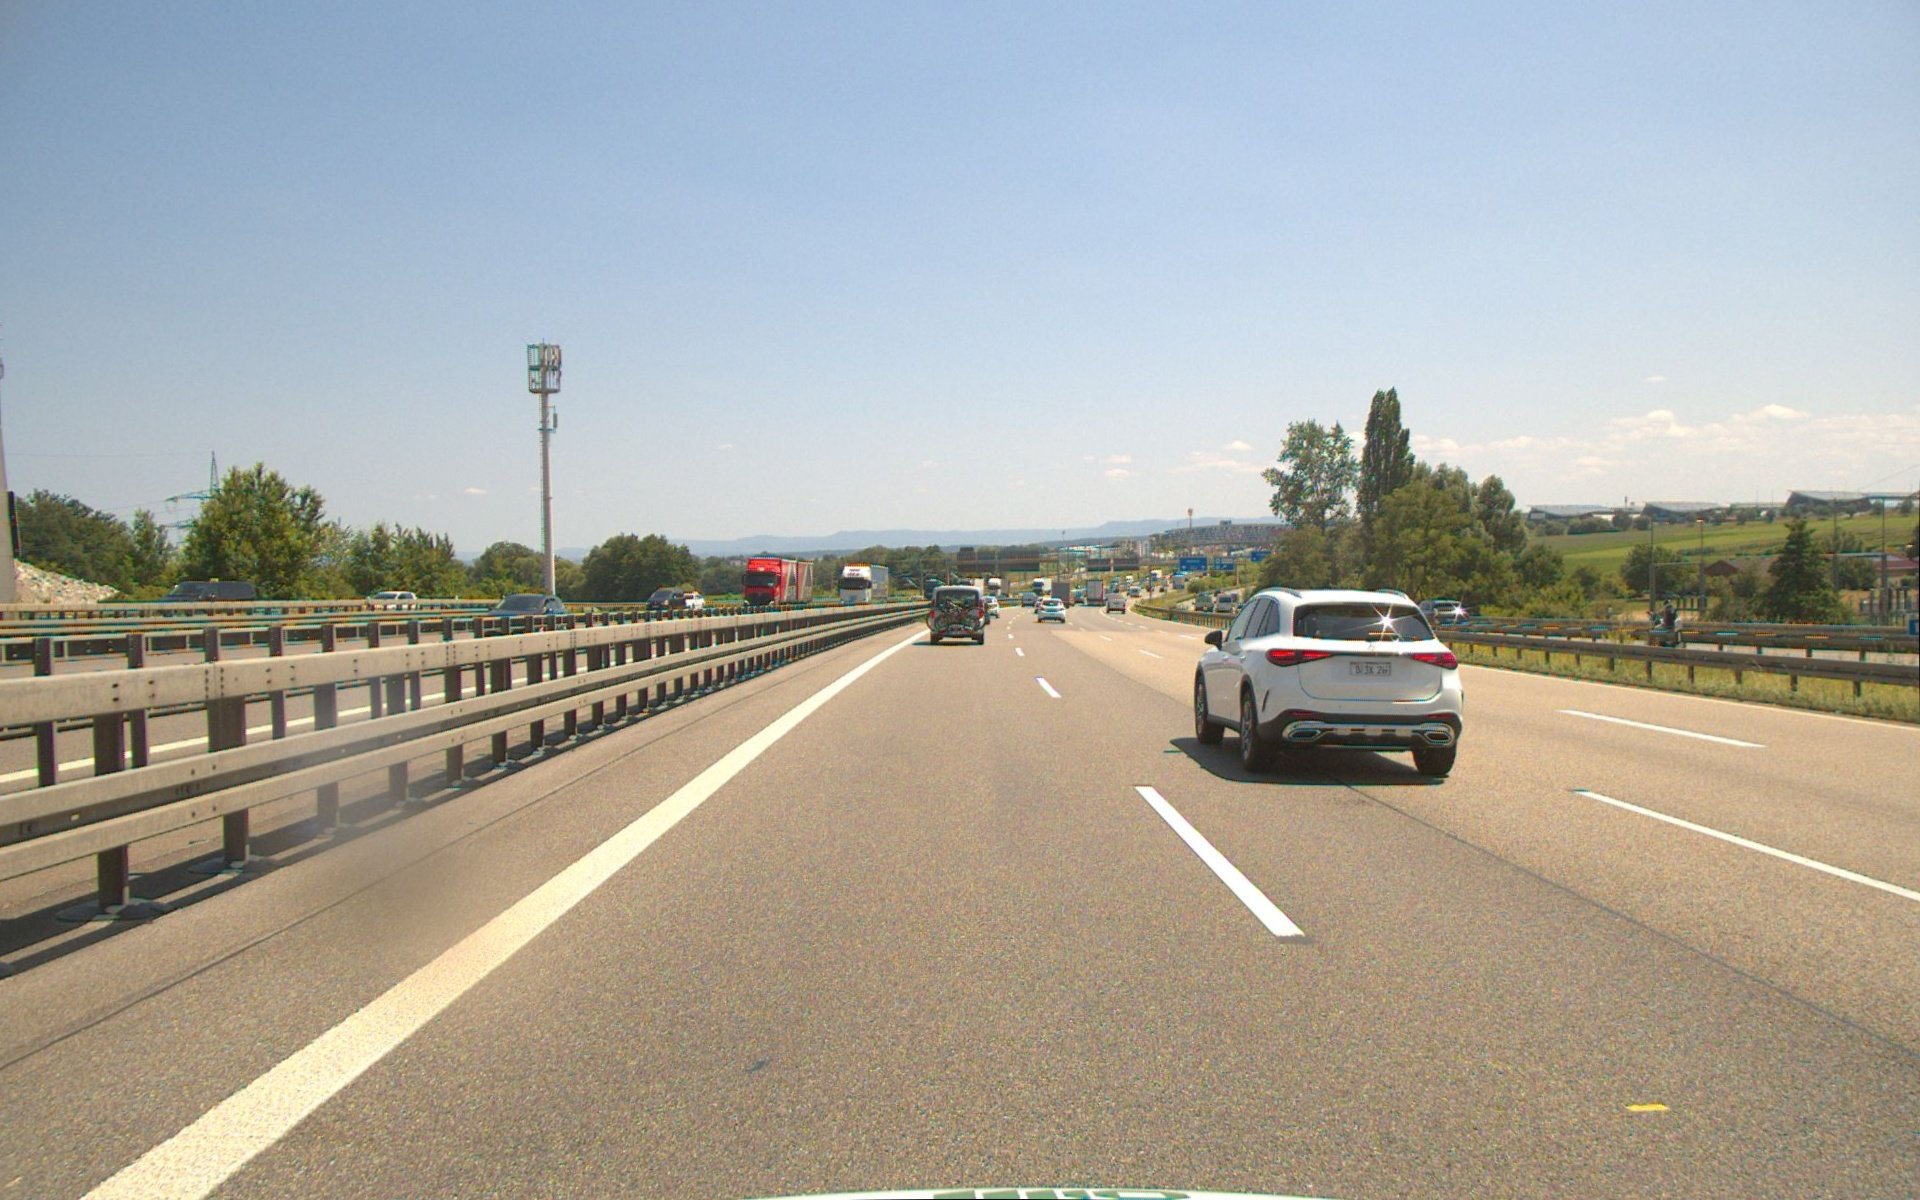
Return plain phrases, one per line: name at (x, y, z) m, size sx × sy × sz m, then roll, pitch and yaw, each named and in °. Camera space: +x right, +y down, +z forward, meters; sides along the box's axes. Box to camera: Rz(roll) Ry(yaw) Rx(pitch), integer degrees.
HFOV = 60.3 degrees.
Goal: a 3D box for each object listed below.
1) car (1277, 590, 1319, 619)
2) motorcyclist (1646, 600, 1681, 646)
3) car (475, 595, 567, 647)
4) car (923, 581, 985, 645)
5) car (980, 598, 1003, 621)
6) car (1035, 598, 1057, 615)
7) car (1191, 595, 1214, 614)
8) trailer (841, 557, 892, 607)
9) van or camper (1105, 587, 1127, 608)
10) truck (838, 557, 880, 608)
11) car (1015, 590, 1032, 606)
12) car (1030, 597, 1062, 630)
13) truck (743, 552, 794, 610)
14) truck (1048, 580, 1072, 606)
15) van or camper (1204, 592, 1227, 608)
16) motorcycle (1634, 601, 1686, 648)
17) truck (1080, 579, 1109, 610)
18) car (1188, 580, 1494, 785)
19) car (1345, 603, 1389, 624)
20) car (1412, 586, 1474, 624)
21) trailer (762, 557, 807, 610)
car at (23.547, 0.334, 115.301) m, size 1.900 × 1.957 × 4.177 m, roll 1°, pitch 0°, yaw -3°
motorcyclist at (21.349, 0.688, 50.183) m, size 0.655 × 1.390 × 0.878 m, roll 1°, pitch 0°, yaw -2°
car at (-13.606, 0.630, 51.489) m, size 1.624 × 1.489 × 4.444 m, roll 1°, pitch 0°, yaw 0°
car at (-0.179, 0.404, 53.293) m, size 1.887 × 1.952 × 4.948 m, roll 1°, pitch 0°, yaw 0°
car at (2.257, 0.697, 118.821) m, size 1.543 × 1.579 × 3.965 m, roll 1°, pitch 0°, yaw 3°
car at (8.037, 0.602, 154.032) m, size 1.940 × 1.499 × 4.002 m, roll 0°, pitch 0°, yaw 4°
car at (27.141, 0.528, 185.322) m, size 1.953 × 2.049 × 4.000 m, roll 1°, pitch 0°, yaw 0°
trailer at (-8.630, -1.554, 154.693) m, size 2.884 × 4.418 × 14.627 m, roll 1°, pitch 0°, yaw 4°
van or camper at (15.834, -0.240, 167.822) m, size 2.110 × 2.049 × 4.307 m, roll 1°, pitch 0°, yaw 5°
truck at (-9.011, -1.536, 148.271) m, size 2.866 × 4.421 × 6.918 m, roll 1°, pitch 0°, yaw 4°
car at (8.459, -0.253, 219.905) m, size 2.140 × 2.038 × 4.002 m, roll 1°, pitch 0°, yaw 5°
car at (5.333, 0.844, 102.882) m, size 1.887 × 1.952 × 4.518 m, roll 1°, pitch 0°, yaw 2°
truck at (-14.649, -1.405, 127.408) m, size 2.529 × 4.187 × 10.349 m, roll 1°, pitch 0°, yaw 1°
truck at (13.119, -0.883, 216.010) m, size 2.645 × 3.163 × 10.666 m, roll 1°, pitch 0°, yaw 6°
van or camper at (32.803, 0.040, 212.462) m, size 2.476 × 2.049 × 4.463 m, roll 1°, pitch 0°, yaw 4°
motorcycle at (21.335, 0.743, 50.438) m, size 0.744 × 1.390 × 1.869 m, roll 1°, pitch 0°, yaw -1°
truck at (21.141, -0.916, 258.824) m, size 3.953 × 4.336 × 11.769 m, roll 1°, pitch 2°, yaw 7°
car at (3.516, 0.690, 16.261) m, size 1.859 × 1.676 × 4.998 m, roll 1°, pitch 0°, yaw 0°
car at (26.126, 0.866, 106.175) m, size 1.665 × 1.299 × 3.998 m, roll 1°, pitch 0°, yaw -3°
car at (21.630, 0.219, 74.229) m, size 1.664 × 1.602 × 4.129 m, roll 1°, pitch 0°, yaw 2°
trailer at (-14.491, -1.331, 136.945) m, size 2.506 × 4.177 × 8.716 m, roll 1°, pitch 0°, yaw 1°
